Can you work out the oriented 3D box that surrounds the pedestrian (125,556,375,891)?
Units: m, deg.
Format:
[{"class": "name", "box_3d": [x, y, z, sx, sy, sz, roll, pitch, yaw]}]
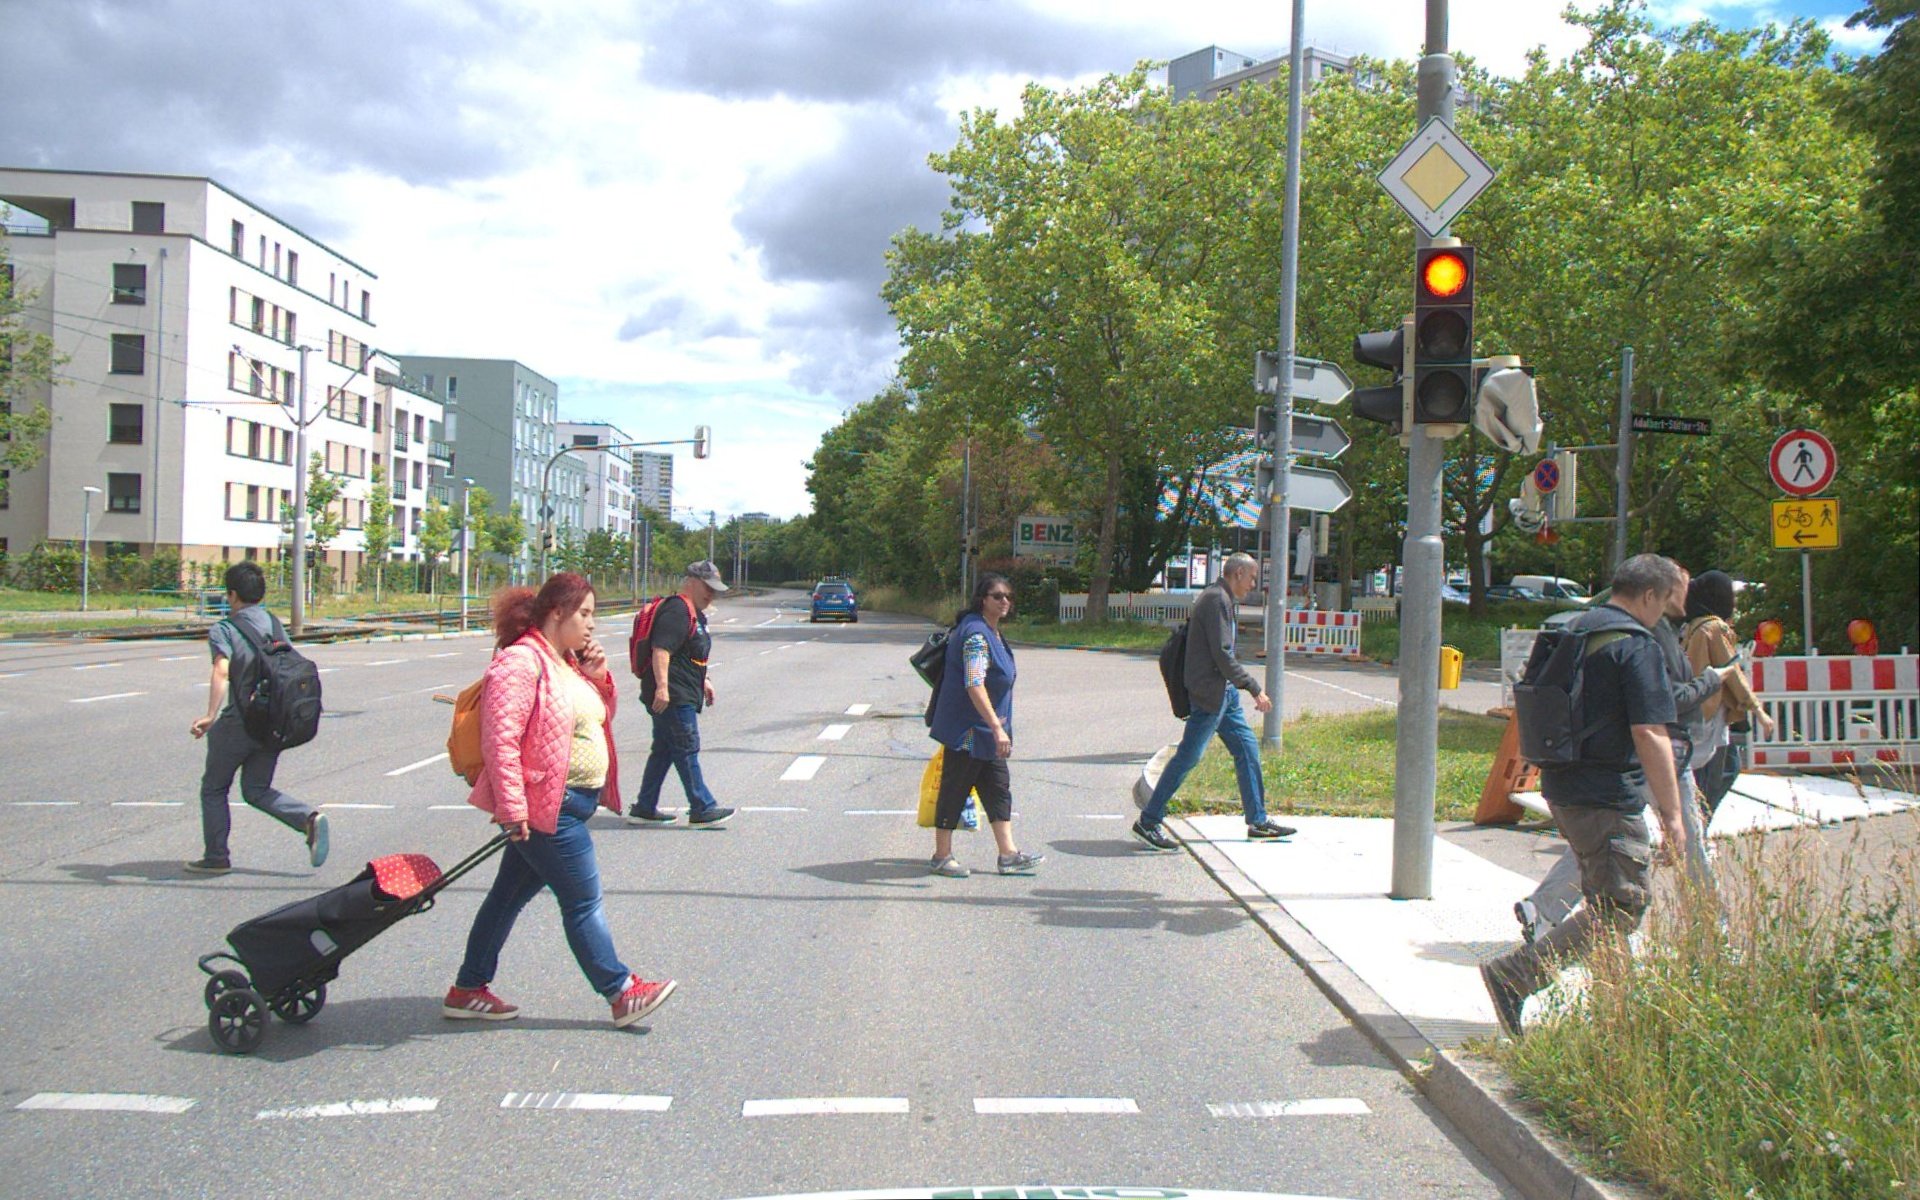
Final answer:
[{"class": "pedestrian", "box_3d": [-3.507, 0.581, 8.256, 0.928, 1.579, 0.842, 1, 0, -8]}]

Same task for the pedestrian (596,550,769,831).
[{"class": "pedestrian", "box_3d": [-1.669, 0.521, 10.086, 0.874, 1.624, 0.908, 1, 0, 1]}]

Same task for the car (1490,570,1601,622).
[{"class": "car", "box_3d": [23.934, -0.180, 67.702, 1.974, 2.049, 3.957, 0, 1, -32]}]

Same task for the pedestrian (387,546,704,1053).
[{"class": "pedestrian", "box_3d": [-1.359, 0.623, 5.564, 0.863, 1.582, 0.746, 1, 0, -1]}]

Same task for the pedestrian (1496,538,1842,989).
[{"class": "pedestrian", "box_3d": [2.808, 0.607, 6.669, 0.999, 1.677, 0.929, 1, 0, 2]}]

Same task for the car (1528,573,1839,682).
[{"class": "car", "box_3d": [13.430, 0.501, 30.864, 4.976, 1.906, 1.947, 1, 0, -5]}]

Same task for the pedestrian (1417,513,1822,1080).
[{"class": "pedestrian", "box_3d": [2.082, 0.582, 5.356, 0.939, 1.677, 0.880, 1, 0, -1]}]

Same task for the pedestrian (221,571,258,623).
[{"class": "pedestrian", "box_3d": [-21.693, -0.104, 49.821, 0.814, 1.542, 0.636, 1, 0, -1]}]

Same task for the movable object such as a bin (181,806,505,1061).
[{"class": "movable object such as a bin", "box_3d": [-2.008, 1.076, 5.485, 0.779, 0.673, 0.778, 1, 0, -1]}]

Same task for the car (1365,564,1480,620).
[{"class": "car", "box_3d": [17.523, -0.312, 62.831, 1.974, 2.049, 3.957, 0, 1, -32]}]

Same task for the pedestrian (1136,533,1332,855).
[{"class": "pedestrian", "box_3d": [1.591, 0.526, 9.767, 0.982, 1.804, 0.929, 1, 0, -1]}]

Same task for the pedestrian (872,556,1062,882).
[{"class": "pedestrian", "box_3d": [0.061, 0.594, 8.848, 0.893, 1.635, 0.930, 1, 0, 7]}]

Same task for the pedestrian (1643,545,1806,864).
[{"class": "pedestrian", "box_3d": [4.467, 0.575, 9.724, 0.765, 1.773, 0.828, 1, 0, 19]}]

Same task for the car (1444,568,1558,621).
[{"class": "car", "box_3d": [21.367, -0.233, 65.465, 1.974, 2.049, 3.957, 0, 1, -32]}]

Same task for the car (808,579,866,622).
[{"class": "car", "box_3d": [-4.573, -0.011, 60.988, 1.944, 1.512, 4.485, 1, 1, -6]}]
